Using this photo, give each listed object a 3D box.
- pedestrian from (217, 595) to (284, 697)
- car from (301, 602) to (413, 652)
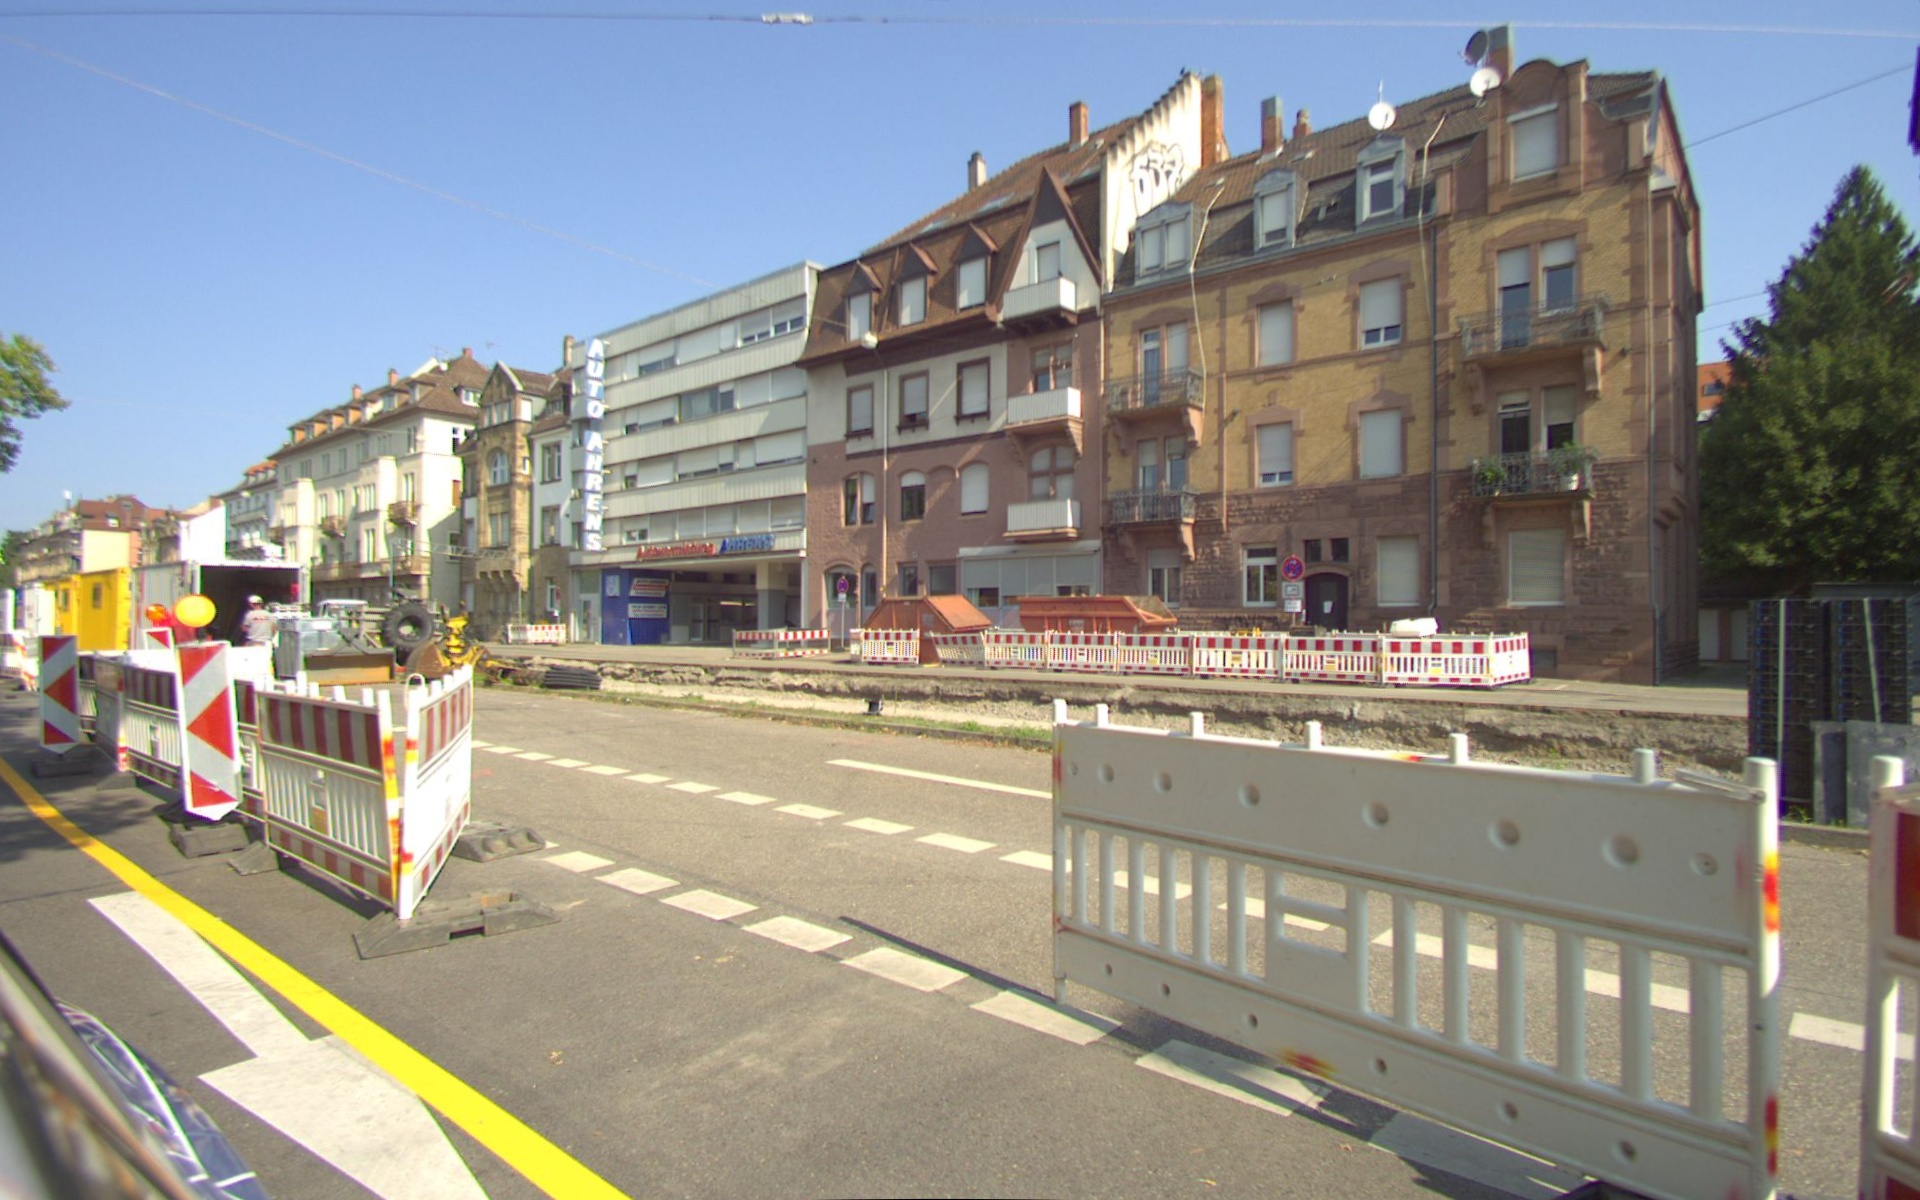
[{"bbox_3d":[-13.056,0.844,18.637,0.595,1.811,0.794,-1,-3,37],"label":"pedestrian"},{"bbox_3d":[-28.079,1.237,46.989,7.118,2.151,2.336,-1,-2,41],"label":"car"}]
